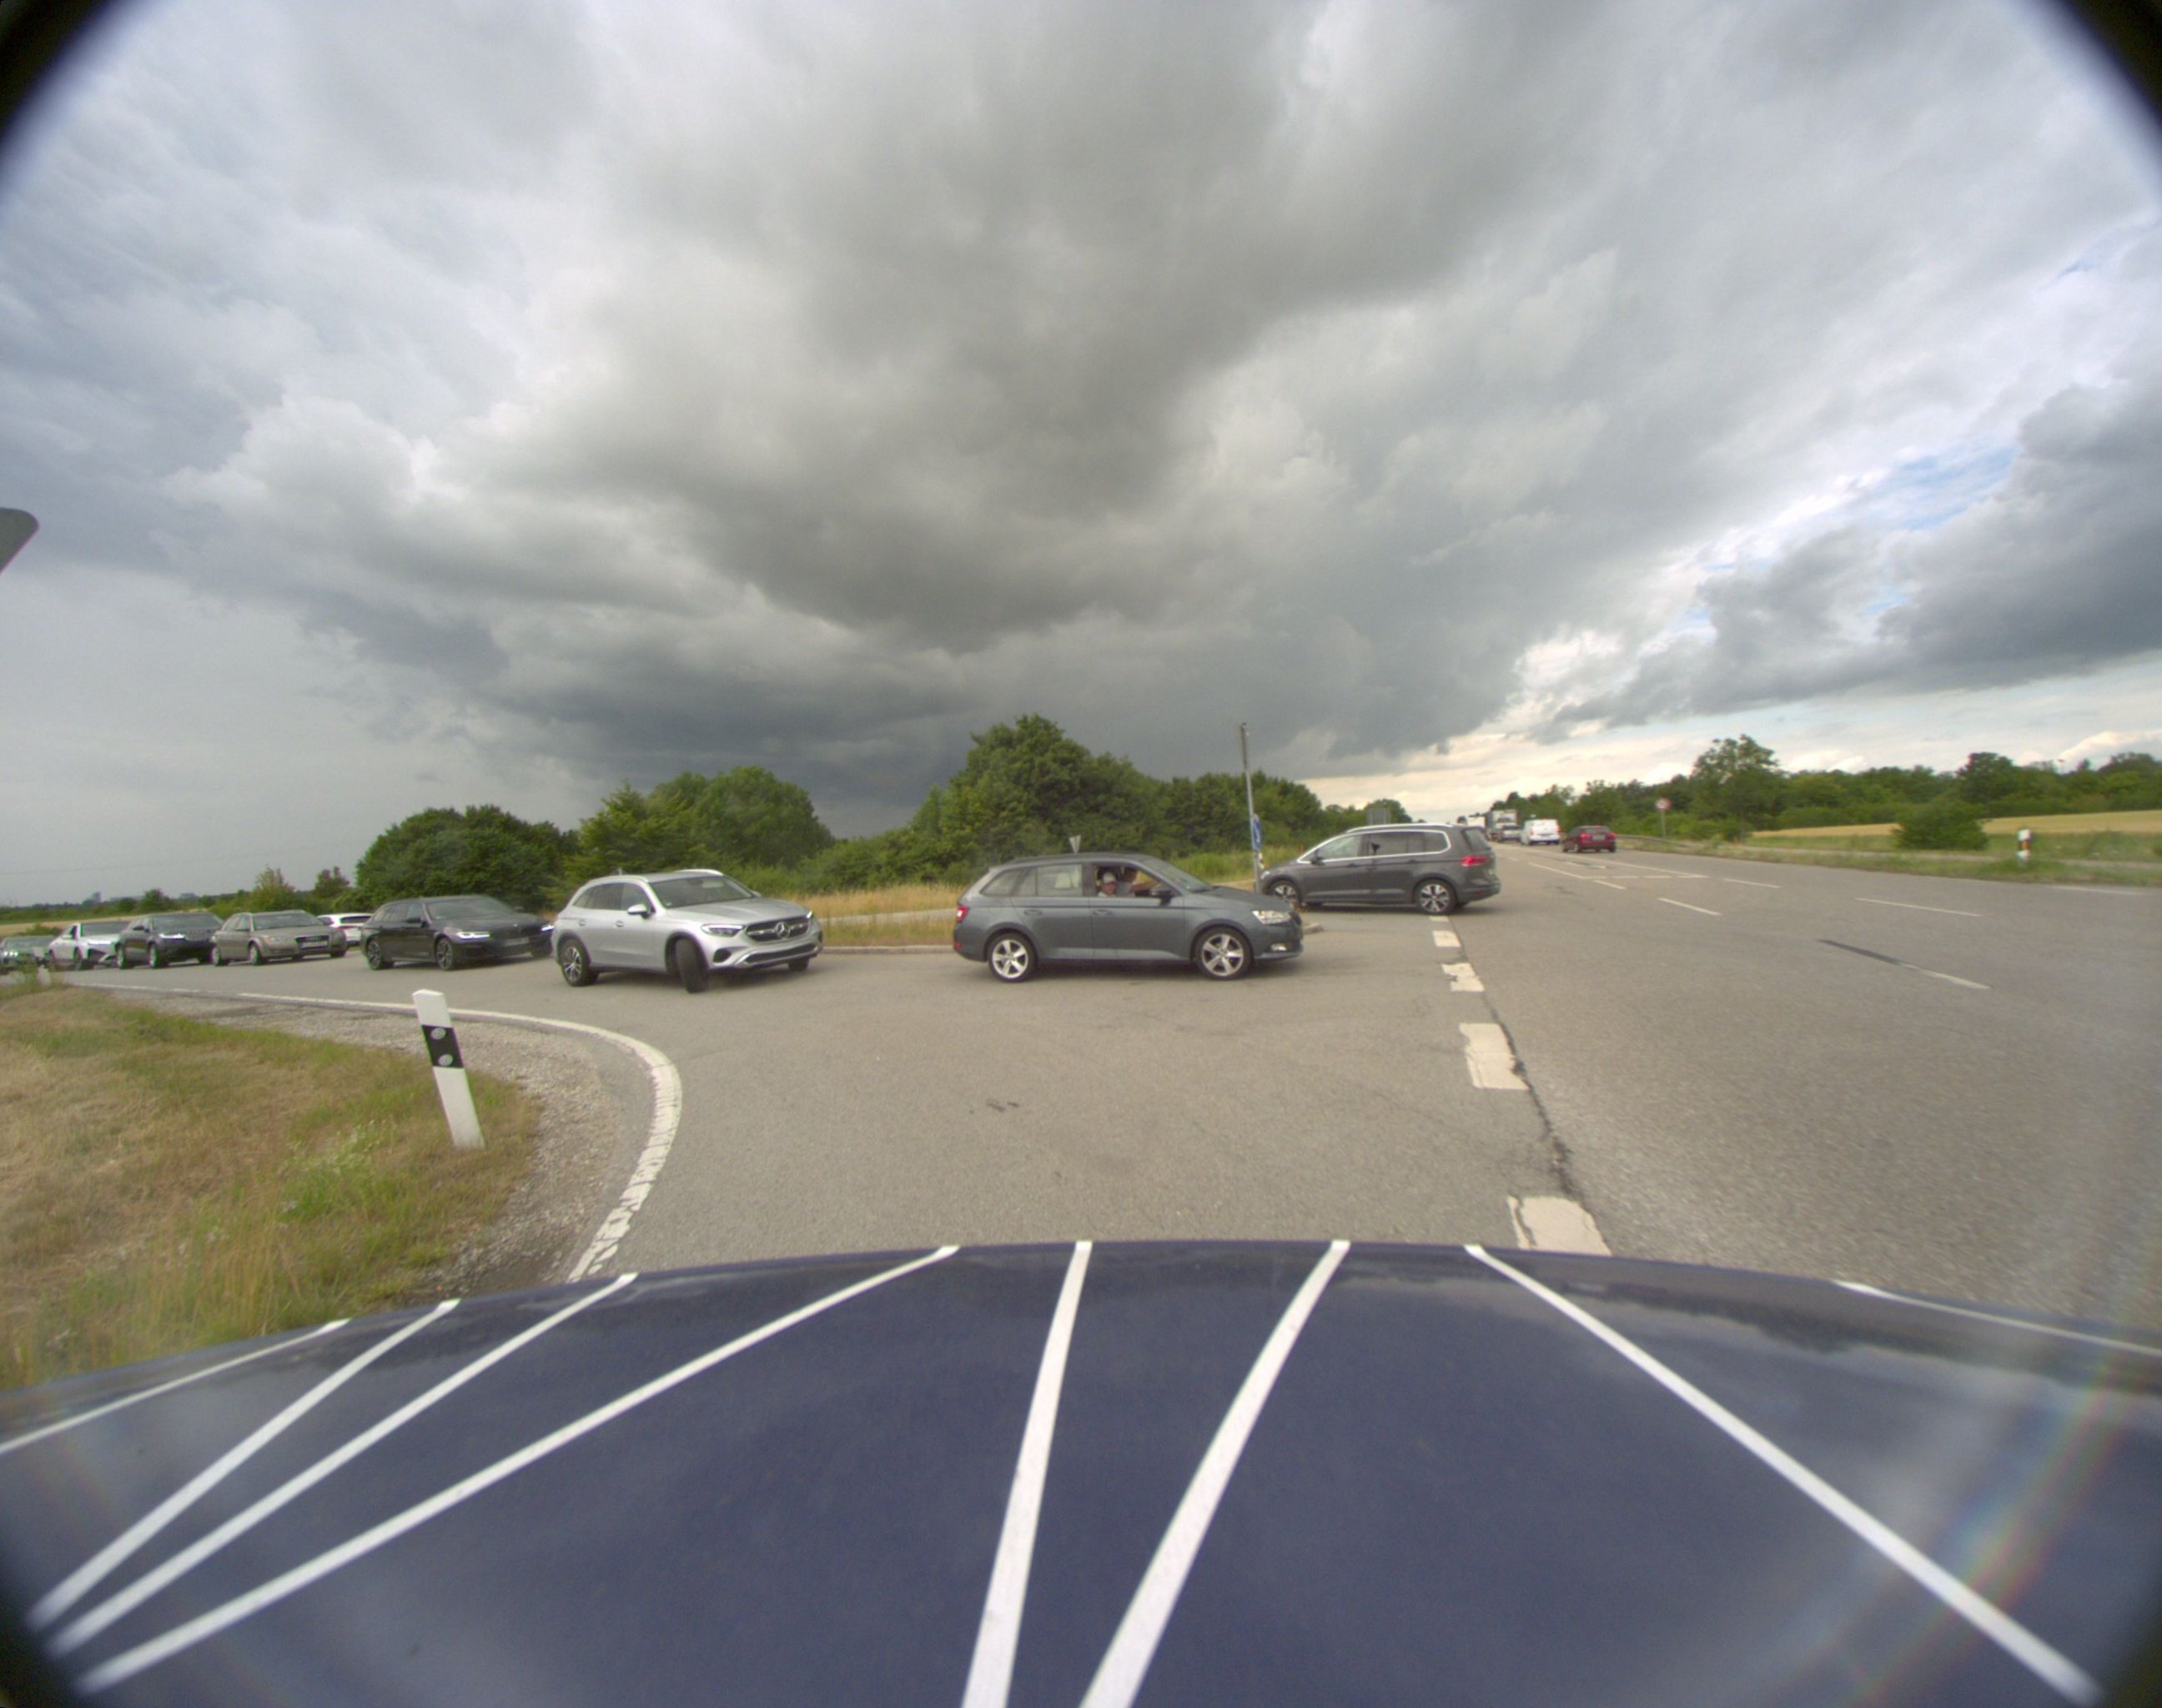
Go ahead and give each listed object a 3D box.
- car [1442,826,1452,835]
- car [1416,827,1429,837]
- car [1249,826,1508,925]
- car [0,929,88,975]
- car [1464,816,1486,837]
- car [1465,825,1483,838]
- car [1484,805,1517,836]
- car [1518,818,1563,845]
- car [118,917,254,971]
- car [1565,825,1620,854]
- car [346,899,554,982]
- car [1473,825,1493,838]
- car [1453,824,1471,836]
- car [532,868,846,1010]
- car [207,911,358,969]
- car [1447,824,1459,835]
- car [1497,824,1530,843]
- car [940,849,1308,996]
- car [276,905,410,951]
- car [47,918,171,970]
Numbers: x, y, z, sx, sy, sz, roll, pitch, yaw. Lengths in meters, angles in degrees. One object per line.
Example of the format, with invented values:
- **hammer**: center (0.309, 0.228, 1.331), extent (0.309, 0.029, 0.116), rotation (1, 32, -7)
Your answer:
- **car**: center (82.194, -5.274, 170.637), extent (1.854, 1.739, 4.006), rotation (-3, 0, 24)
- **car**: center (58.770, -3.795, 130.851), extent (1.995, 1.474, 4.005), rotation (-3, 1, 23)
- **car**: center (5.642, 0.379, 14.683), extent (4.278, 1.649, 1.757), rotation (-2, 1, 39)
- **car**: center (-41.633, 3.860, 30.255), extent (4.204, 1.486, 1.724), rotation (-3, 2, 27)
- **car**: center (60.402, -4.219, 116.481), extent (2.336, 3.011, 6.567), rotation (-3, 0, 23)
- **car**: center (54.914, -3.119, 106.175), extent (1.854, 1.739, 4.006), rotation (-3, 0, 23)
- **car**: center (43.576, -3.422, 79.099), extent (2.335, 3.012, 6.567), rotation (-1, 1, 23)
- **car**: center (35.086, -1.707, 58.159), extent (2.108, 1.875, 5.398), rotation (-2, 0, 23)
- **car**: center (-27.807, 2.767, 23.586), extent (4.204, 1.346, 1.724), rotation (-3, 2, 27)
- **car**: center (26.997, -0.761, 40.198), extent (1.674, 1.393, 4.095), rotation (-2, 1, 24)
- **car**: center (-13.360, 1.766, 16.026), extent (4.683, 1.346, 1.724), rotation (-3, 3, 29)
- **car**: center (51.638, -2.926, 97.588), extent (1.844, 1.516, 4.006), rotation (-3, 0, 23)
- **car**: center (66.468, -4.168, 132.678), extent (2.336, 1.910, 4.882), rotation (-3, 0, 23)
- **car**: center (-5.865, 1.170, 11.271), extent (4.383, 1.577, 2.000), rotation (-3, 3, 31)
- **car**: center (-22.243, 2.362, 21.152), extent (4.204, 1.345, 1.725), rotation (-3, 0, 27)
- **car**: center (75.243, -4.882, 153.706), extent (1.793, 2.002, 4.006), rotation (-3, 0, 22)
- **car**: center (39.013, -1.845, 68.627), extent (1.995, 1.614, 4.267), rotation (-1, 1, 22)
- **car**: center (0.589, 0.814, 9.280), extent (4.109, 1.439, 1.720), rotation (-4, 1, 16)
- **car**: center (-27.747, 2.791, 28.587), extent (4.383, 1.443, 1.774), rotation (-3, 0, 19)
- **car**: center (-34.049, 3.119, 26.596), extent (4.627, 1.486, 1.724), rotation (-3, 2, 27)
